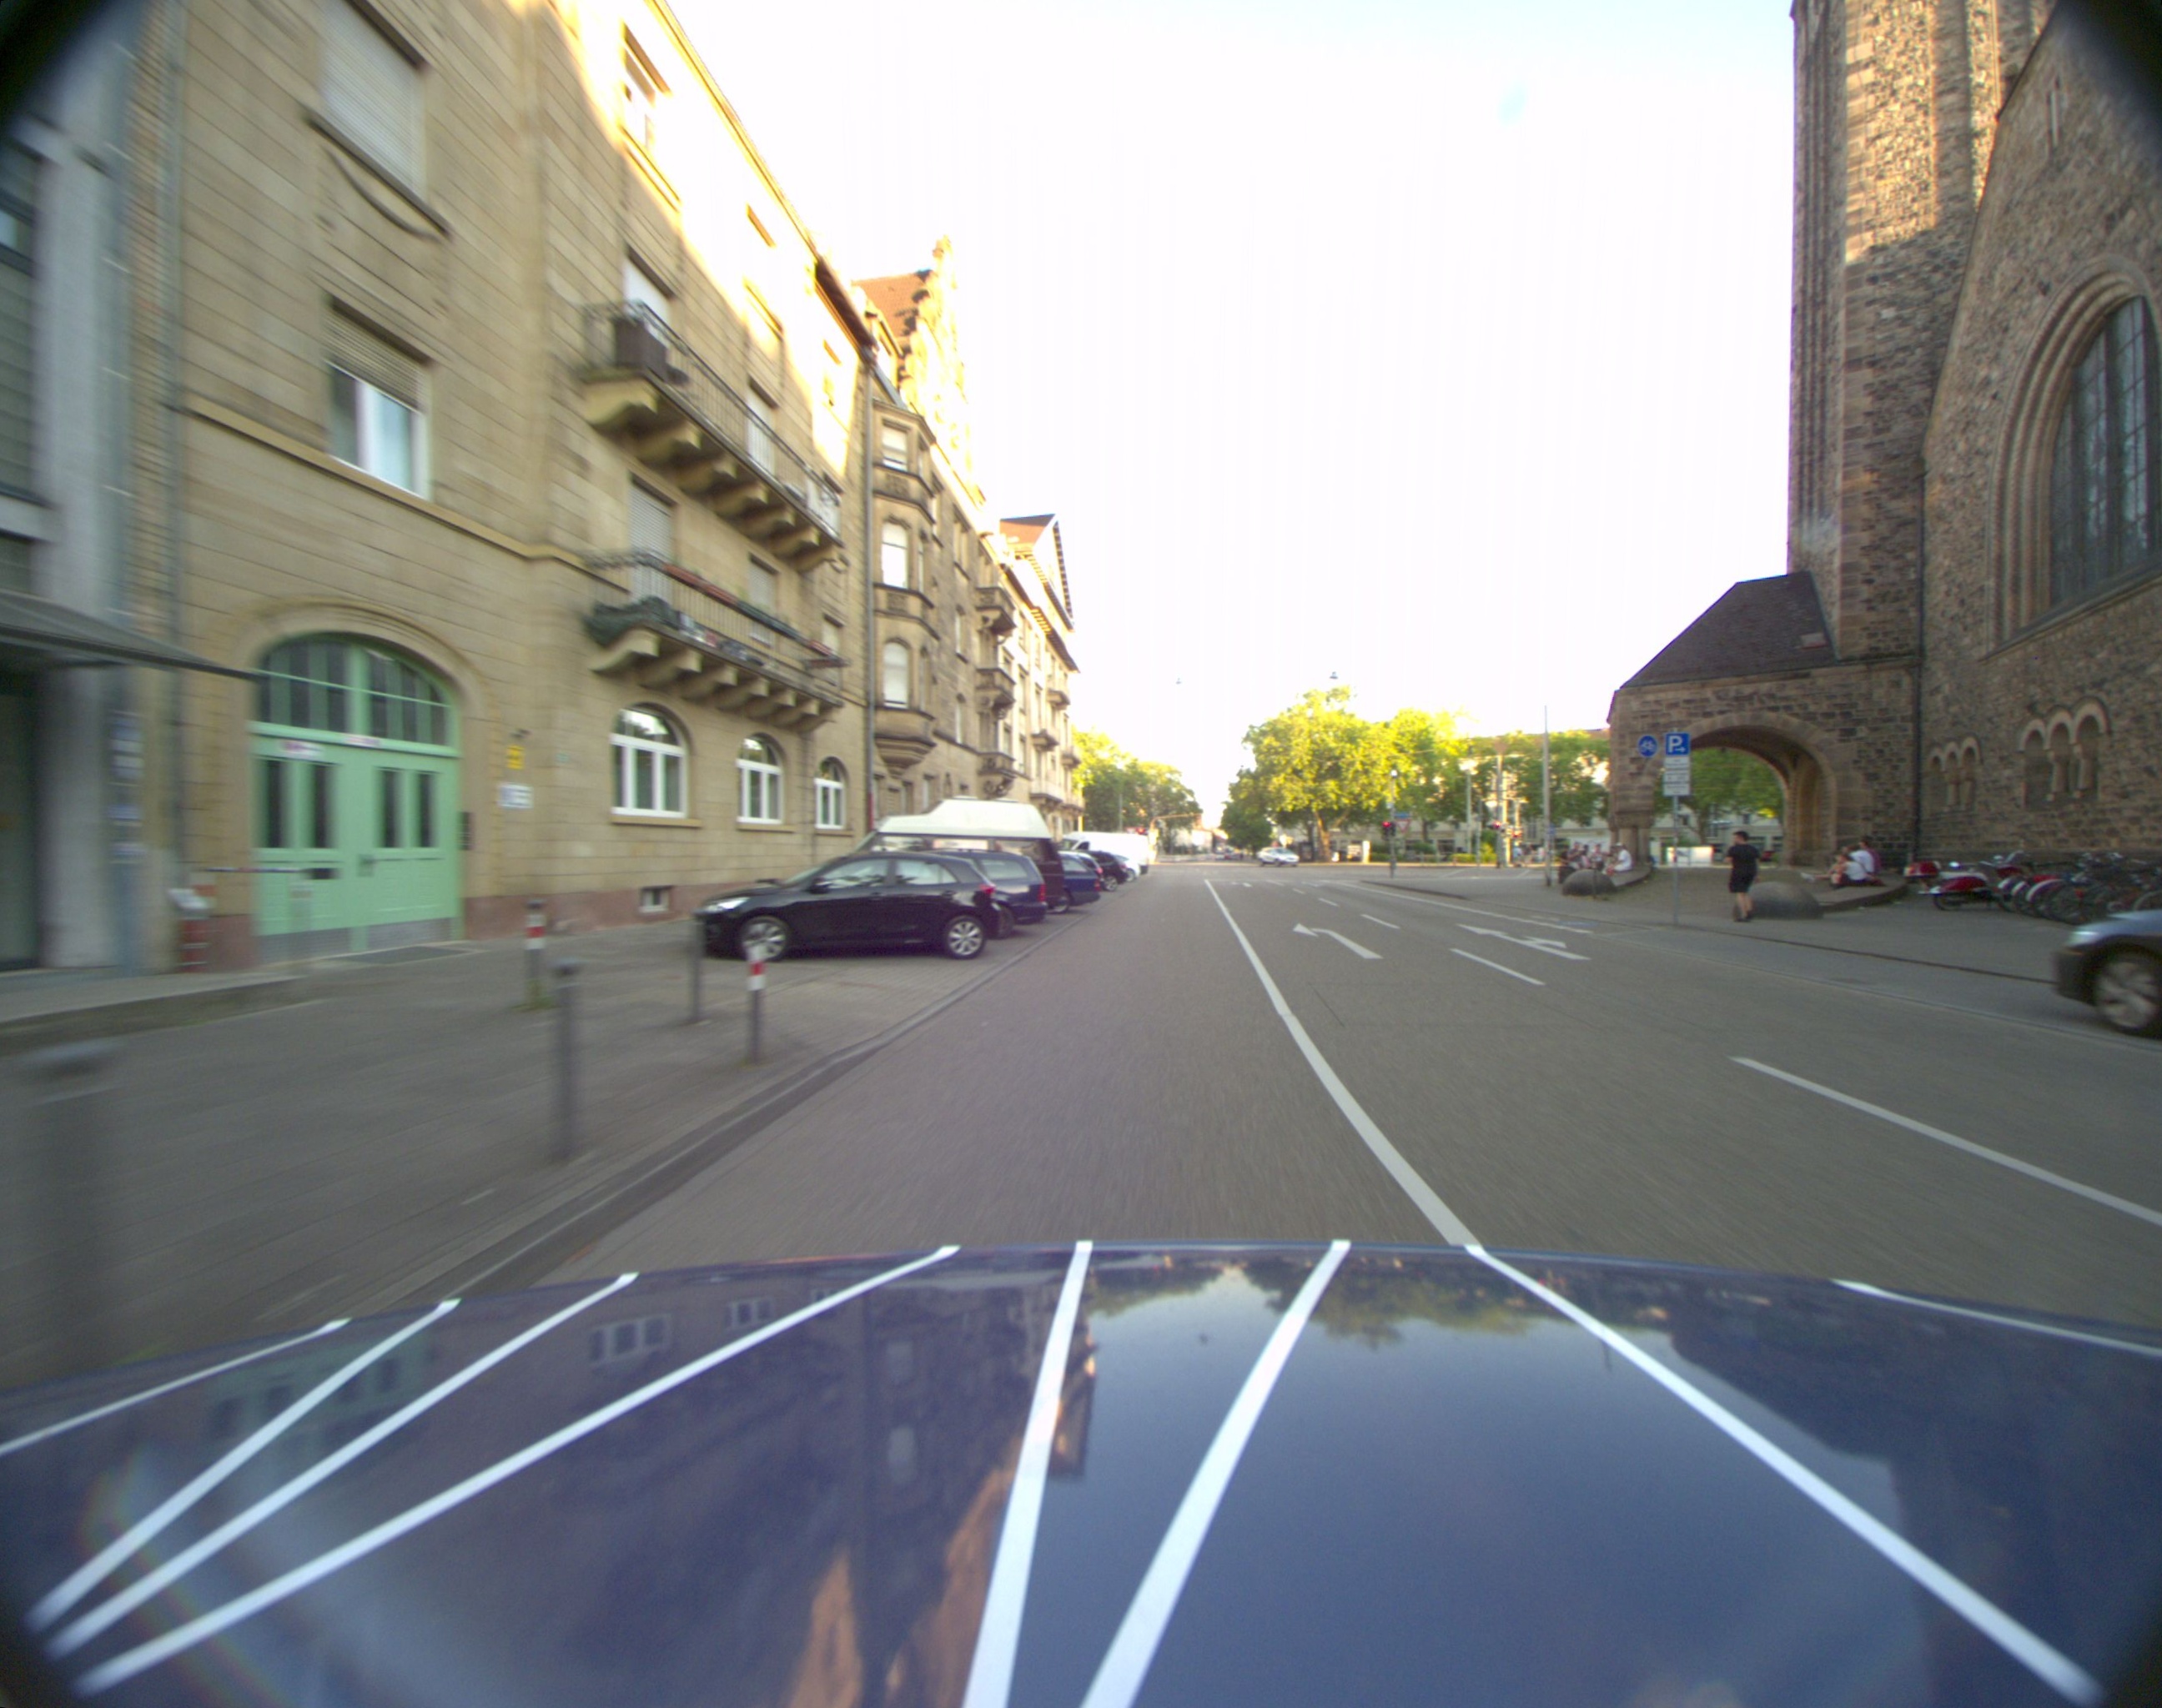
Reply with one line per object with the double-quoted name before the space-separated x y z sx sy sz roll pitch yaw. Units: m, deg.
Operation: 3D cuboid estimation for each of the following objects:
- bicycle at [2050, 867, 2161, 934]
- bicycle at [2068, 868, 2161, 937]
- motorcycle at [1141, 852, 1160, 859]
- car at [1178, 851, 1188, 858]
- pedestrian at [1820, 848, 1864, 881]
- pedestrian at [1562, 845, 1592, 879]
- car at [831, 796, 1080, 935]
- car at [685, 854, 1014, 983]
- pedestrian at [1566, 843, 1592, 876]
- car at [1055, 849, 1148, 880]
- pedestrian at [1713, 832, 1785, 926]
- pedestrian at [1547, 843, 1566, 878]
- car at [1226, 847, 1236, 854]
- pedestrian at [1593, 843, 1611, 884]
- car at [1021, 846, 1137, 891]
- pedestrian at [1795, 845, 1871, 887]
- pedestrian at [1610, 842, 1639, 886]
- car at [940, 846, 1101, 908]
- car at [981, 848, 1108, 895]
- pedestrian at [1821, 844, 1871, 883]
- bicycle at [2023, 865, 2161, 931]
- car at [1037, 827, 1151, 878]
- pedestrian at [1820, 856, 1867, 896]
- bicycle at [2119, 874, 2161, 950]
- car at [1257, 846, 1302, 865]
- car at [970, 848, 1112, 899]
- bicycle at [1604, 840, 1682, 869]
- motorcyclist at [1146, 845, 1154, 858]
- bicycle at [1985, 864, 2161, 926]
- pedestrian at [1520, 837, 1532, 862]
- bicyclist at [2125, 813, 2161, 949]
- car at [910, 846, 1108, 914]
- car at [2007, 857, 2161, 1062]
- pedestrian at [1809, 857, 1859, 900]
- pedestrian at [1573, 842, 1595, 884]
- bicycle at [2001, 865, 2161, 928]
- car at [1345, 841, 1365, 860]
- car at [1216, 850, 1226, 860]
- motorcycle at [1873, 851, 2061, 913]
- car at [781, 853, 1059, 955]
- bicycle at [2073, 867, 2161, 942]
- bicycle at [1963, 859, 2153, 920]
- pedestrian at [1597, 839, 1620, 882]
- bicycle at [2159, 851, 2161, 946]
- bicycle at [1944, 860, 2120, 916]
"bicycle" 16.158 0.695 11.505 1.880 0.983 0.371 0 1 23
"bicycle" 15.802 0.707 11.011 1.880 0.983 0.371 0 1 23
"motorcycle" 8.553 0.164 93.645 2.287 0.917 0.622 0 1 -17
"car" 22.769 0.044 169.295 1.793 1.571 4.003 0 0 12
"pedestrian" 21.592 0.276 21.558 0.648 0.910 0.738 -1 1 -31
"pedestrian" 20.062 0.311 30.742 0.700 1.367 0.801 -1 1 -31
"car" -2.567 0.166 15.551 4.730 2.532 1.914 -1 2 -21
"car" -3.148 0.769 10.619 4.074 1.483 1.720 -1 1 -23
"pedestrian" 20.582 0.216 31.418 0.801 1.367 0.701 1 1 42
"car" 1.064 0.533 38.493 4.262 1.445 1.995 1 1 -30
"pedestrian" 12.434 0.455 14.170 0.716 1.715 0.691 0 1 -1
"pedestrian" 19.969 0.281 31.889 0.628 1.445 0.917 1 1 34
"car" 32.133 -0.715 162.796 1.826 1.565 4.003 -1 1 12
"pedestrian" 18.025 0.324 26.282 0.401 1.398 0.549 1 2 43
"car" -0.069 0.569 29.516 4.106 1.598 1.811 1 1 -30
"pedestrian" 20.495 0.306 20.730 0.686 1.088 1.330 -1 1 -31
"pedestrian" 17.684 0.321 24.718 0.702 1.398 0.633 1 1 43
"car" -1.699 0.599 21.151 4.126 1.537 1.791 1 3 -20
"car" -1.264 0.606 26.541 4.064 1.490 1.750 1 1 -27
"pedestrian" 21.142 0.252 21.009 0.648 1.069 0.828 -1 1 -31
"bicycle" 16.357 0.680 11.917 1.985 0.983 0.467 0 1 23
"car" 0.743 -0.081 41.277 5.895 2.537 2.190 1 3 -33
"pedestrian" 18.549 0.525 18.498 0.562 0.962 0.648 -1 1 -25
"bicycle" 15.073 0.768 9.880 1.880 0.983 0.442 0 1 23
"car" 16.501 0.083 63.478 1.843 1.549 3.994 0 0 -17
"car" -1.259 0.616 24.052 4.041 1.423 1.864 2 1 -26
"bicycle" 21.265 0.007 28.797 2.280 1.051 0.596 0 1 26
"motorcyclist" 8.516 -0.293 93.623 0.830 1.511 0.622 -1 1 -17
"bicycle" 16.855 0.673 12.856 2.003 0.983 0.467 0 1 23
"pedestrian" 32.757 -0.351 55.911 0.709 1.836 1.162 0 1 28
"bicyclist" 15.274 0.353 10.386 0.940 1.869 0.709 -1 1 23
"car" -1.746 0.631 18.401 4.404 1.478 1.840 2 1 -22
"car" 8.319 0.765 4.115 1.786 1.427 4.318 0 1 10
"pedestrian" 18.026 0.570 18.188 0.562 0.986 0.695 -1 1 -25
"pedestrian" 17.584 0.306 26.544 0.549 1.445 0.559 1 2 43
"bicycle" 16.600 0.679 12.411 2.003 0.983 0.467 0 1 23
"car" 30.026 -0.432 83.145 1.864 2.002 3.816 0 1 23
"car" 29.115 0.167 157.511 1.990 1.945 4.599 0 0 11
"motorcycle" 17.510 0.556 15.083 2.419 1.119 0.822 -2 0 12
"car" -2.756 0.748 13.038 4.361 1.494 1.910 -1 1 -20
"bicycle" 15.507 0.693 10.491 2.182 1.006 0.554 -2 1 25
"bicycle" 17.192 0.640 13.437 2.003 0.983 0.586 -3 0 23
"pedestrian" 17.624 0.211 25.392 0.546 1.398 0.459 1 2 43
"bicycle" 14.944 0.588 9.492 1.729 1.241 0.438 0 1 22
"bicycle" 17.562 0.613 14.087 2.003 0.983 0.586 0 1 21
